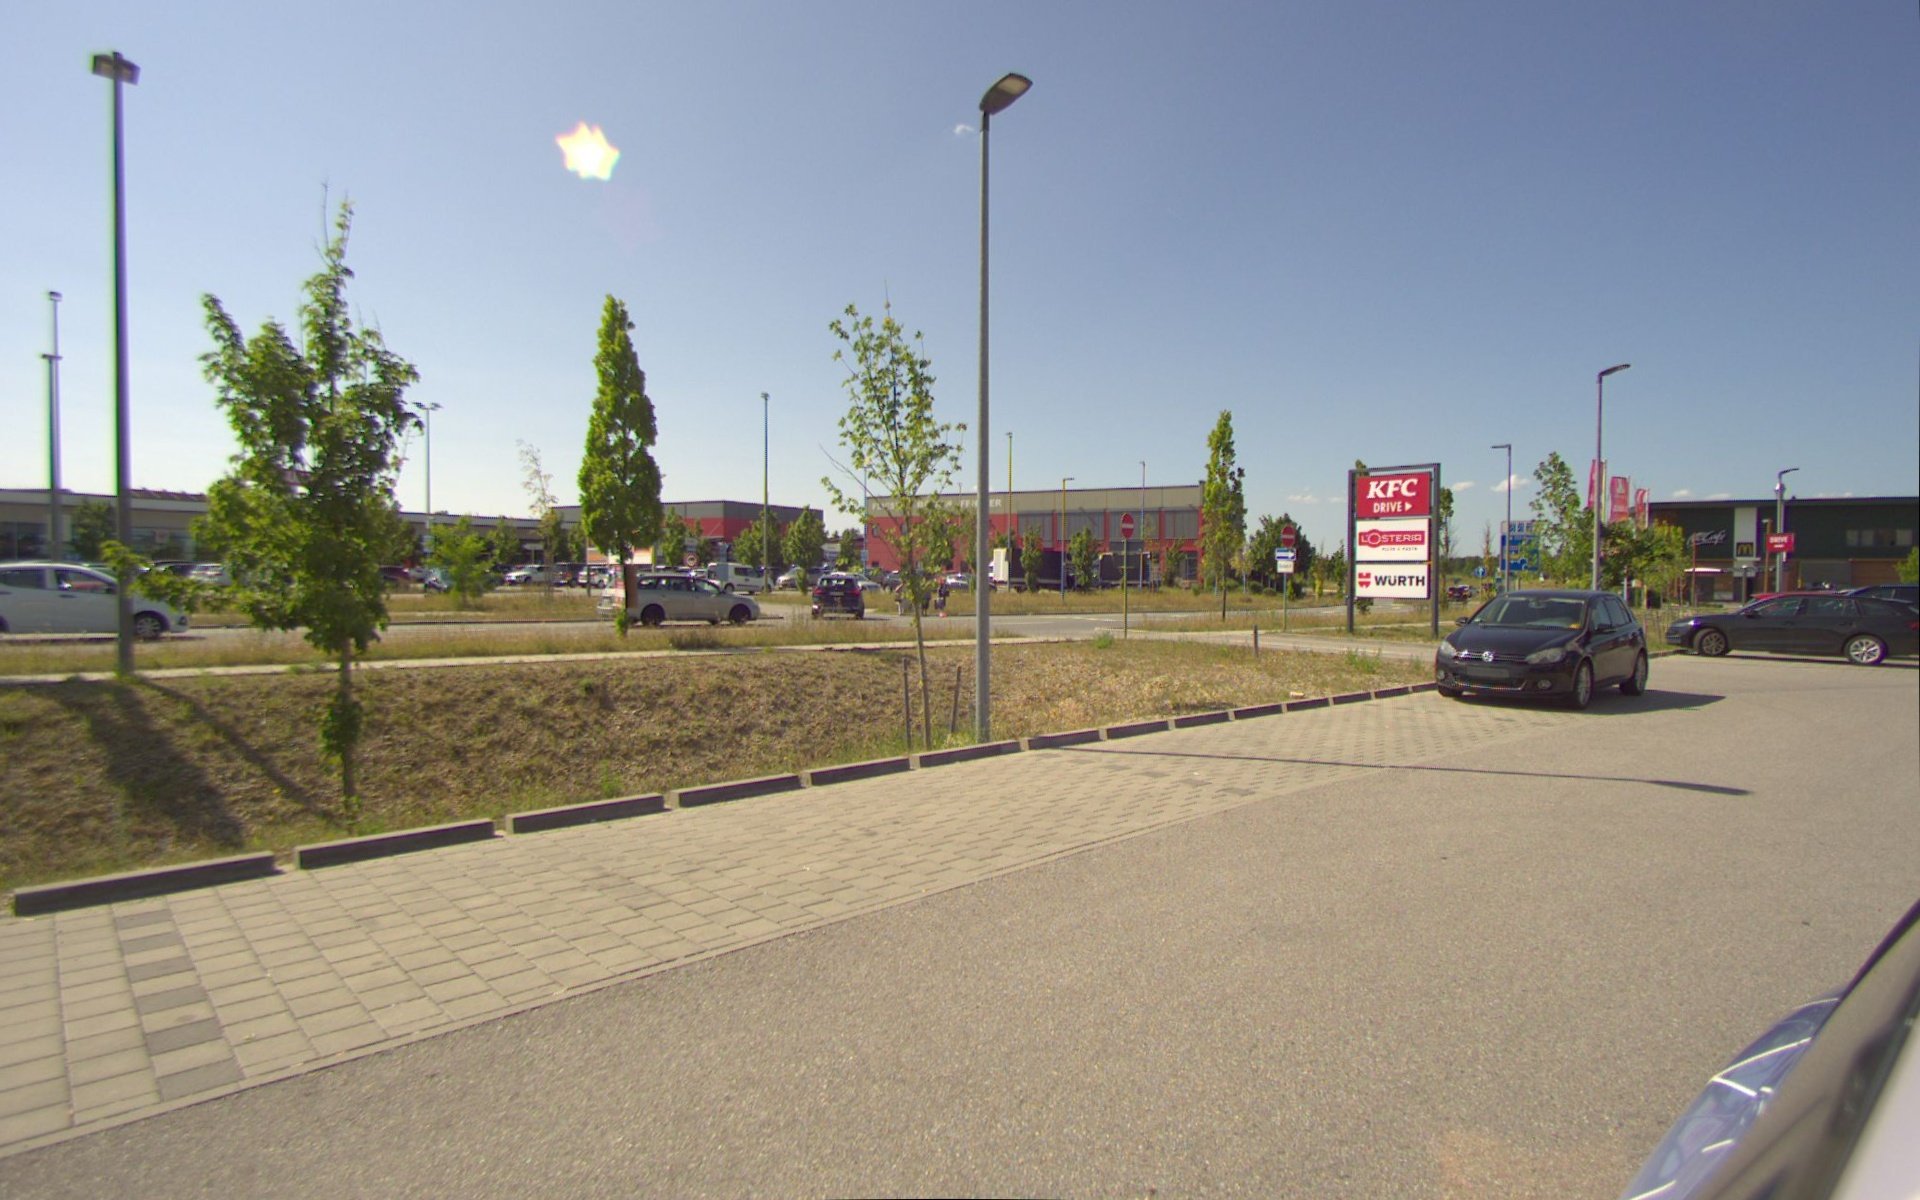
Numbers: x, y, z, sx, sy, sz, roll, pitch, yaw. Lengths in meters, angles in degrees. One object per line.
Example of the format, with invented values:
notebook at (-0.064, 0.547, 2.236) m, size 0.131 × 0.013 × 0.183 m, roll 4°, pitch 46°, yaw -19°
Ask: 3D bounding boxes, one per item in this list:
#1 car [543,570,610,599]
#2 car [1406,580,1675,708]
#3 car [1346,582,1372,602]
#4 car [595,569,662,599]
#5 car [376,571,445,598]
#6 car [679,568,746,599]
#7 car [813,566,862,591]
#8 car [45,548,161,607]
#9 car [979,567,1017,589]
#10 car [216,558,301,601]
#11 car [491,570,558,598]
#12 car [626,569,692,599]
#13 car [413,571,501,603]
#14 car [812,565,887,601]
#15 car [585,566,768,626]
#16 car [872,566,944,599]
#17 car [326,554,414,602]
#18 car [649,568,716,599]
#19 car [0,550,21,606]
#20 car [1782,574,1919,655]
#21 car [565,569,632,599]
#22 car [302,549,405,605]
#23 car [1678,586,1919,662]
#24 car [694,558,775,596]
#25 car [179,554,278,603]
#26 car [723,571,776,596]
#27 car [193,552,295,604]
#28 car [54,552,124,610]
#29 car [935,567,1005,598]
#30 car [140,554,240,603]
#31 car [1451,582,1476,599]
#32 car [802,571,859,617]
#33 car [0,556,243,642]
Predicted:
car at (-28.184, -1.174, 74.429) m, size 1.981 × 2.063 × 4.441 m, roll 0°, pitch 1°, yaw 28°
car at (8.076, 0.484, 13.927) m, size 4.287 × 1.484 × 1.876 m, roll 0°, pitch 1°, yaw -41°
car at (32.026, -0.620, 81.165) m, size 1.808 × 1.560 × 3.969 m, roll 1°, pitch 1°, yaw 23°
car at (-23.587, -1.153, 72.088) m, size 1.981 × 2.063 × 4.441 m, roll 0°, pitch 1°, yaw 28°
car at (-43.400, -1.207, 80.036) m, size 1.981 × 2.063 × 4.441 m, roll 0°, pitch 1°, yaw 28°
car at (-16.598, -1.114, 68.047) m, size 1.981 × 2.063 × 4.441 m, roll 0°, pitch 1°, yaw 28°
car at (-10.261, -1.826, 85.138) m, size 1.981 × 2.063 × 4.441 m, roll 0°, pitch 1°, yaw 28°
car at (-43.206, -1.130, 51.176) m, size 1.964 × 2.857 × 4.481 m, roll 0°, pitch 1°, yaw 3°
car at (3.733, -2.090, 97.889) m, size 1.981 × 2.063 × 4.441 m, roll 0°, pitch 1°, yaw 28°
car at (-48.492, -1.420, 70.065) m, size 1.981 × 2.857 × 4.441 m, roll 0°, pitch 1°, yaw 28°
car at (-32.889, -1.189, 76.491) m, size 1.981 × 2.063 × 4.441 m, roll 0°, pitch 1°, yaw 28°
car at (-21.128, -1.148, 71.180) m, size 1.981 × 2.063 × 4.441 m, roll 0°, pitch 1°, yaw 28°
car at (-29.520, -0.795, 59.525) m, size 1.981 × 1.806 × 4.274 m, roll 0°, pitch 1°, yaw 28°
car at (-6.653, -1.034, 60.884) m, size 4.464 × 2.063 × 1.971 m, roll 0°, pitch 1°, yaw 40°
car at (-8.033, -0.152, 28.959) m, size 4.677 × 1.571 × 1.944 m, roll -1°, pitch 1°, yaw -41°
car at (-3.347, -1.108, 64.552) m, size 4.464 × 2.063 × 1.971 m, roll 0°, pitch 1°, yaw 40°
car at (-36.589, -1.348, 62.878) m, size 1.977 × 2.857 × 4.452 m, roll 0°, pitch 1°, yaw 22°
car at (-19.005, -1.128, 69.482) m, size 1.981 × 2.063 × 4.441 m, roll 0°, pitch 1°, yaw 28°
car at (-49.586, -1.084, 49.889) m, size 1.977 × 2.857 × 4.452 m, roll 0°, pitch 1°, yaw 22°
car at (22.657, 0.319, 24.020) m, size 1.963 × 1.858 × 4.533 m, roll 0°, pitch 1°, yaw -36°
car at (-26.104, -1.162, 73.240) m, size 1.981 × 2.063 × 4.441 m, roll 0°, pitch 1°, yaw 28°
car at (-32.276, -1.218, 53.969) m, size 1.977 × 2.857 × 4.452 m, roll 0°, pitch 1°, yaw 22°
car at (18.710, 0.454, 22.281) m, size 4.519 × 1.477 × 1.969 m, roll 2°, pitch 1°, yaw 44°
car at (-13.618, -1.364, 61.237) m, size 1.994 × 2.213 × 4.413 m, roll 0°, pitch 1°, yaw 45°
car at (-43.886, -1.286, 60.840) m, size 1.981 × 2.857 × 4.441 m, roll 0°, pitch 1°, yaw 28°
car at (-17.540, -1.382, 84.616) m, size 1.981 × 2.063 × 4.441 m, roll 0°, pitch 1°, yaw 28°
car at (-41.604, -1.263, 58.927) m, size 1.981 × 2.857 × 4.441 m, roll 0°, pitch 1°, yaw 28°
car at (-32.599, -0.728, 37.842) m, size 1.851 × 2.039 × 4.130 m, roll 0°, pitch 1°, yaw -43°
car at (0.654, -1.186, 68.343) m, size 4.464 × 2.063 × 1.971 m, roll 0°, pitch 1°, yaw 40°
car at (-46.598, -1.284, 61.331) m, size 1.981 × 2.857 × 4.441 m, roll 0°, pitch 1°, yaw 28°
car at (47.290, -0.915, 95.055) m, size 1.808 × 1.560 × 3.970 m, roll 1°, pitch 2°, yaw 23°
car at (-4.751, -0.247, 37.539) m, size 1.908 × 1.570 × 4.766 m, roll 0°, pitch 1°, yaw -5°
car at (-17.293, -0.045, 20.181) m, size 4.682 × 1.571 × 1.942 m, roll -1°, pitch 1°, yaw -44°
